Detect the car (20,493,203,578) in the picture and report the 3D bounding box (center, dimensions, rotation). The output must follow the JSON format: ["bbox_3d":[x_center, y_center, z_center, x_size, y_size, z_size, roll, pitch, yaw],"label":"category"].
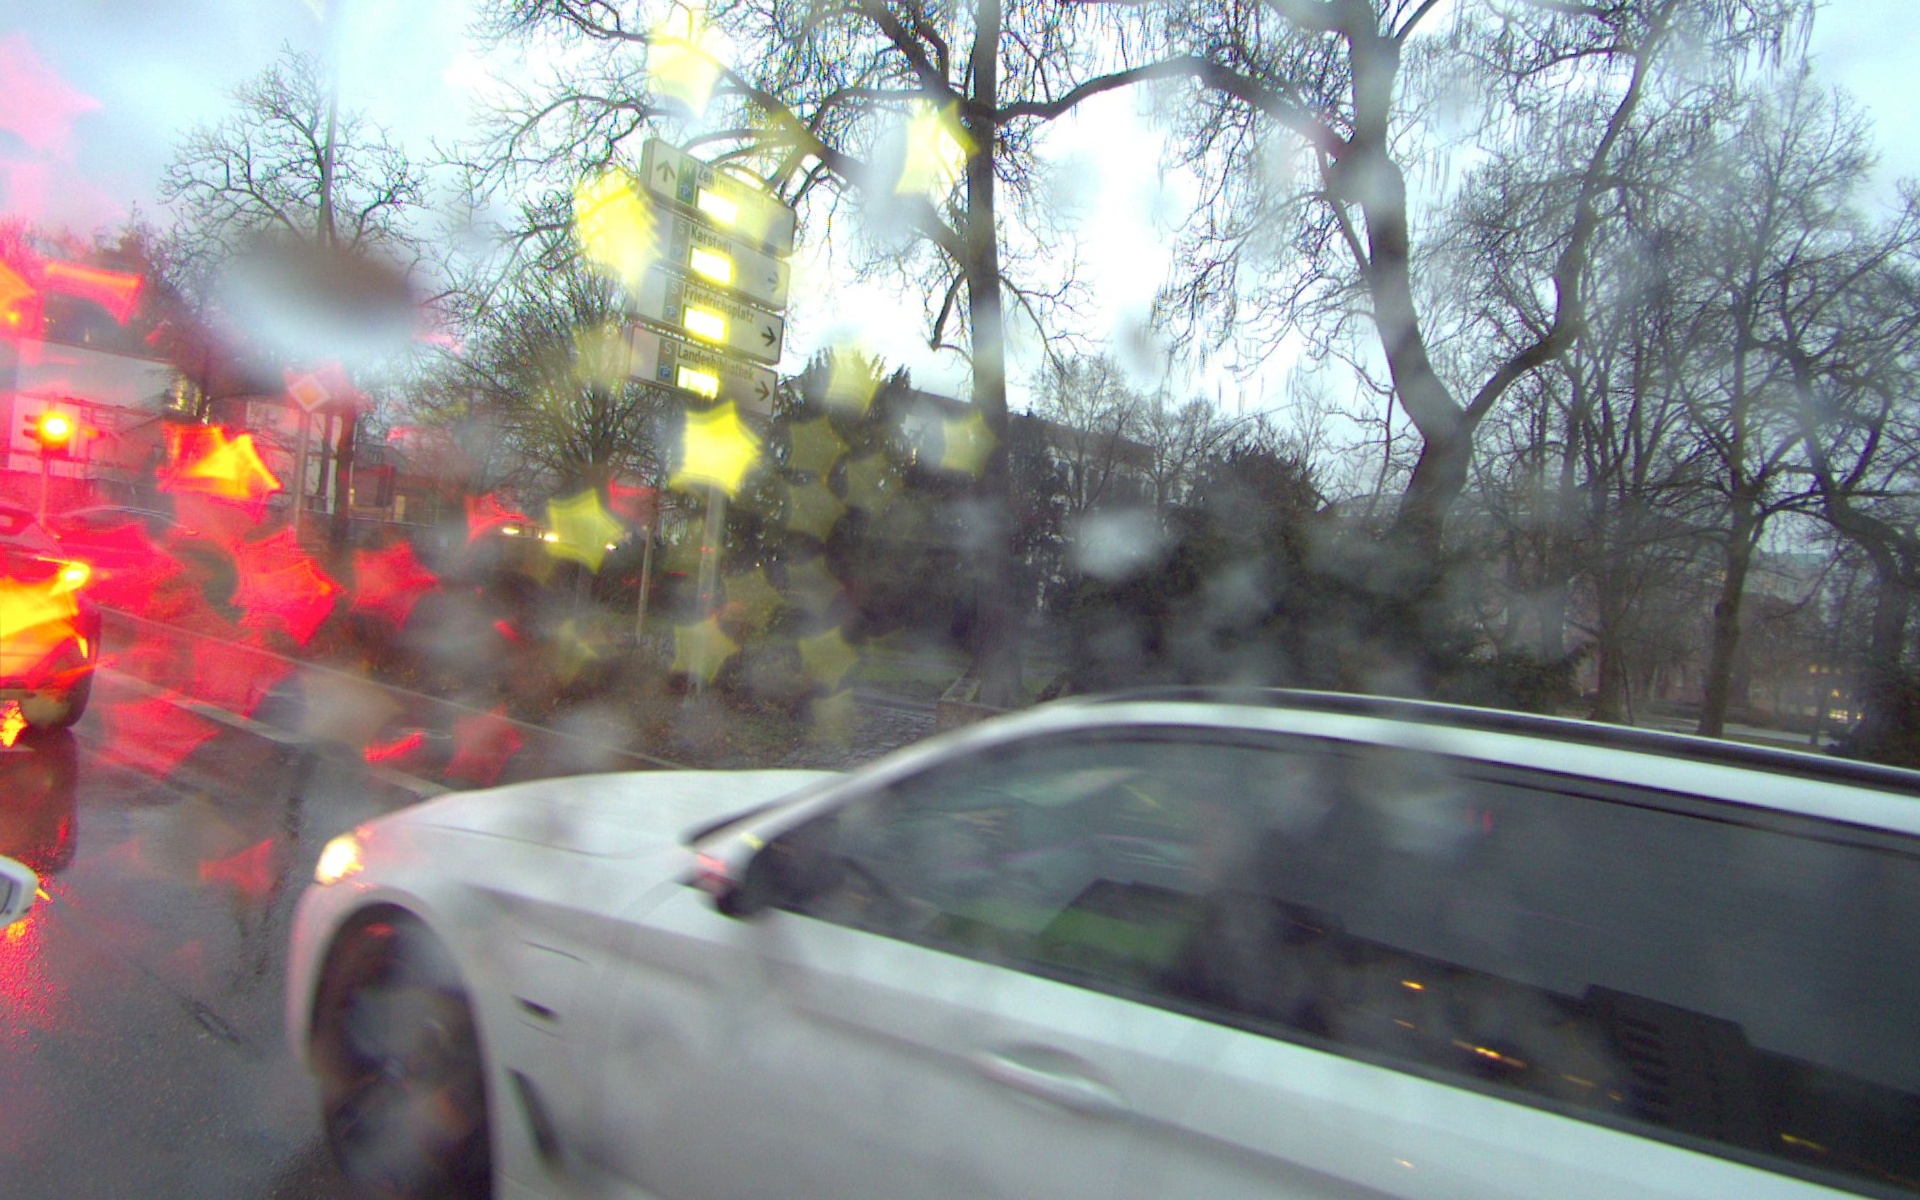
[{"bbox_3d":[-27.333,-2.037,32.546,4.259,1.965,1.977,10,-3,-42],"label":"car"}]

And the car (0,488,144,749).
[{"bbox_3d":[-7.366,-0.092,6.676,3.831,1.529,1.802,7,0,32],"label":"car"}]

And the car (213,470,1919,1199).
[{"bbox_3d":[0.439,0.726,2.364,4.857,1.575,1.864,7,0,33],"label":"car"}]
